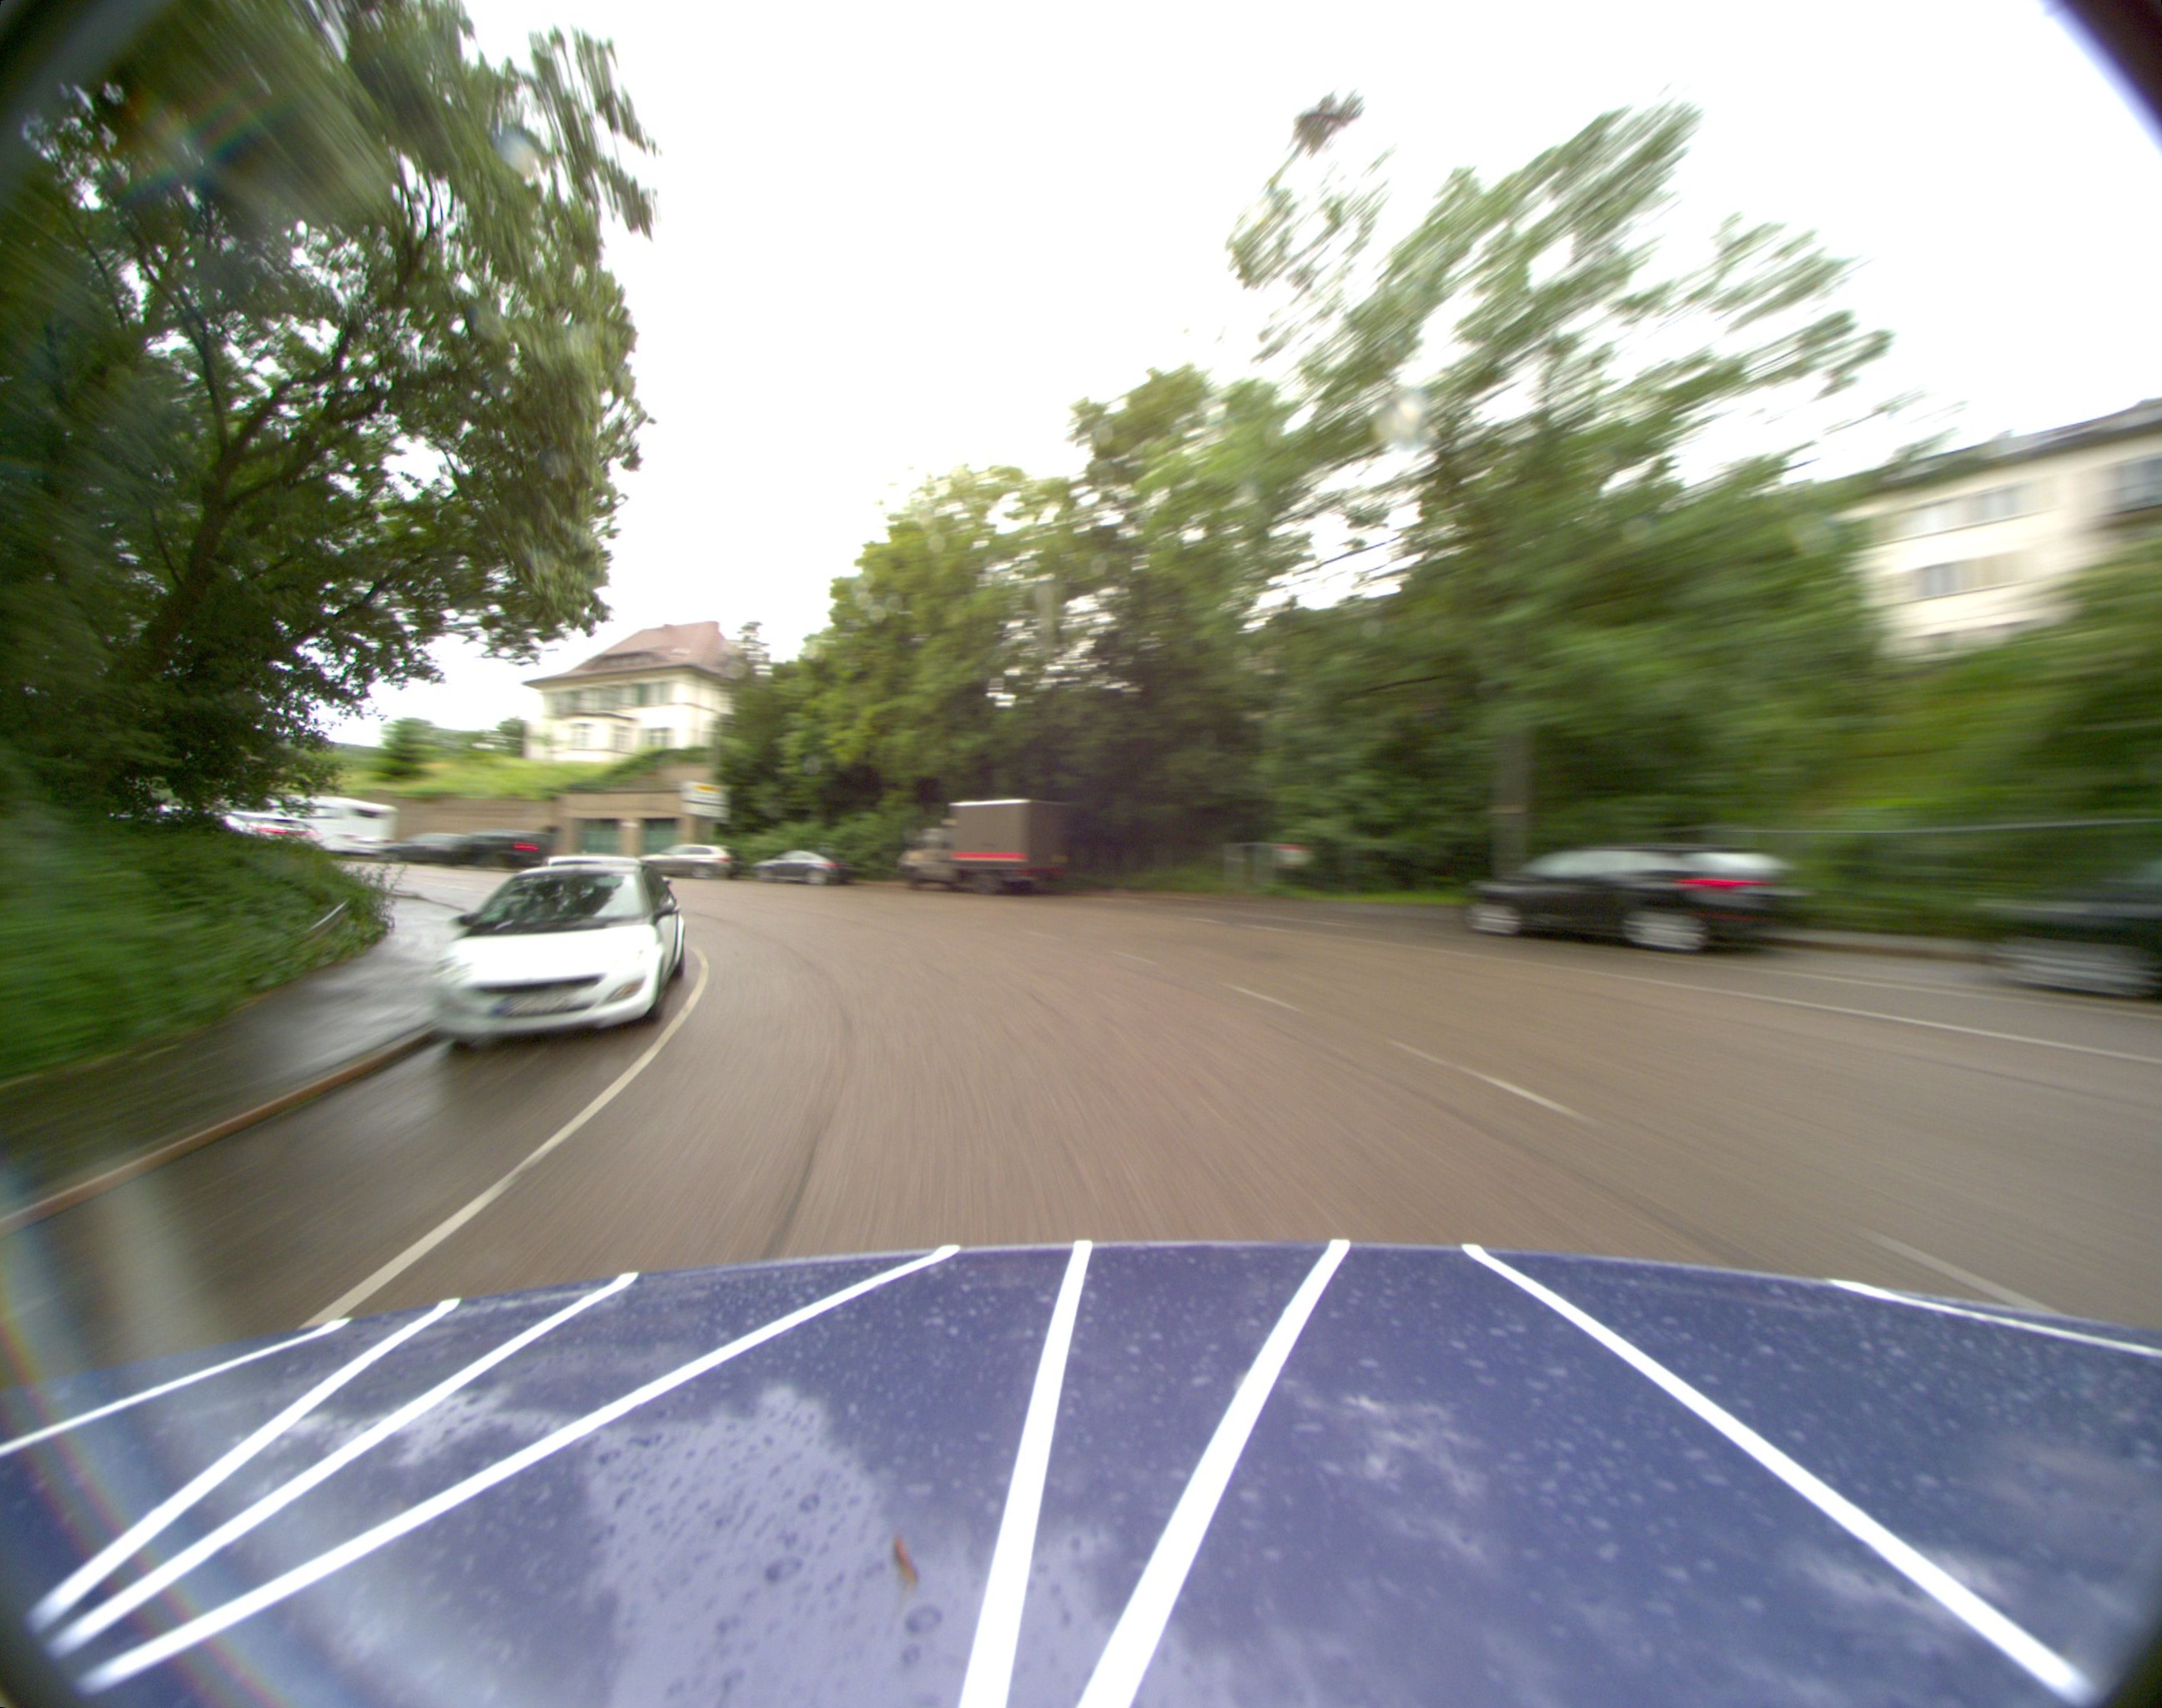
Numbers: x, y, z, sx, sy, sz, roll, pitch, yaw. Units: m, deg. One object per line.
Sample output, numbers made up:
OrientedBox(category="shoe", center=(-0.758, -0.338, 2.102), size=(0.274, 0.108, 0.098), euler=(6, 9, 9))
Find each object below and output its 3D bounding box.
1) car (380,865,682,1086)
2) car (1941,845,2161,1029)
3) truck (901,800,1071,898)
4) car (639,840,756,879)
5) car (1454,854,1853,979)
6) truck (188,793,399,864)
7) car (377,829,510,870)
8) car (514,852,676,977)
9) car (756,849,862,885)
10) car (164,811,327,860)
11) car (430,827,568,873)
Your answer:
OrientedBox(category="car", center=(-5.178, 0.945, 7.722), size=(1.666, 1.439, 3.692), euler=(-2, 3, -23))
OrientedBox(category="car", center=(9.527, 0.639, 5.420), size=(1.914, 1.403, 4.130), euler=(-2, 0, -6))
OrientedBox(category="truck", center=(-3.397, -0.172, 26.306), size=(5.929, 3.042, 2.237), euler=(1, 0, 38))
OrientedBox(category="car", center=(-16.178, 0.256, 32.142), size=(4.101, 1.404, 1.761), euler=(3, -1, 10))
OrientedBox(category="car", center=(8.068, 0.730, 11.312), size=(2.002, 1.455, 4.364), euler=(-1, 0, -20))
OrientedBox(category="truck", center=(-34.145, -1.058, 33.102), size=(6.456, 2.661, 2.446), euler=(2, -2, 0))
OrientedBox(category="car", center=(-27.562, -0.164, 32.956), size=(3.997, 1.332, 1.846), euler=(4, -5, -1))
OrientedBox(category="car", center=(-7.621, 0.770, 11.754), size=(1.684, 1.422, 3.975), euler=(-2, 4, -38))
OrientedBox(category="car", center=(-10.888, 0.509, 30.438), size=(3.817, 1.292, 1.604), euler=(2, 0, 19))
OrientedBox(category="car", center=(-31.117, -0.672, 28.381), size=(4.077, 1.563, 1.822), euler=(3, -1, 2))
OrientedBox(category="car", center=(-20.918, -0.144, 27.392), size=(3.732, 1.481, 1.637), euler=(2, 0, 4))
